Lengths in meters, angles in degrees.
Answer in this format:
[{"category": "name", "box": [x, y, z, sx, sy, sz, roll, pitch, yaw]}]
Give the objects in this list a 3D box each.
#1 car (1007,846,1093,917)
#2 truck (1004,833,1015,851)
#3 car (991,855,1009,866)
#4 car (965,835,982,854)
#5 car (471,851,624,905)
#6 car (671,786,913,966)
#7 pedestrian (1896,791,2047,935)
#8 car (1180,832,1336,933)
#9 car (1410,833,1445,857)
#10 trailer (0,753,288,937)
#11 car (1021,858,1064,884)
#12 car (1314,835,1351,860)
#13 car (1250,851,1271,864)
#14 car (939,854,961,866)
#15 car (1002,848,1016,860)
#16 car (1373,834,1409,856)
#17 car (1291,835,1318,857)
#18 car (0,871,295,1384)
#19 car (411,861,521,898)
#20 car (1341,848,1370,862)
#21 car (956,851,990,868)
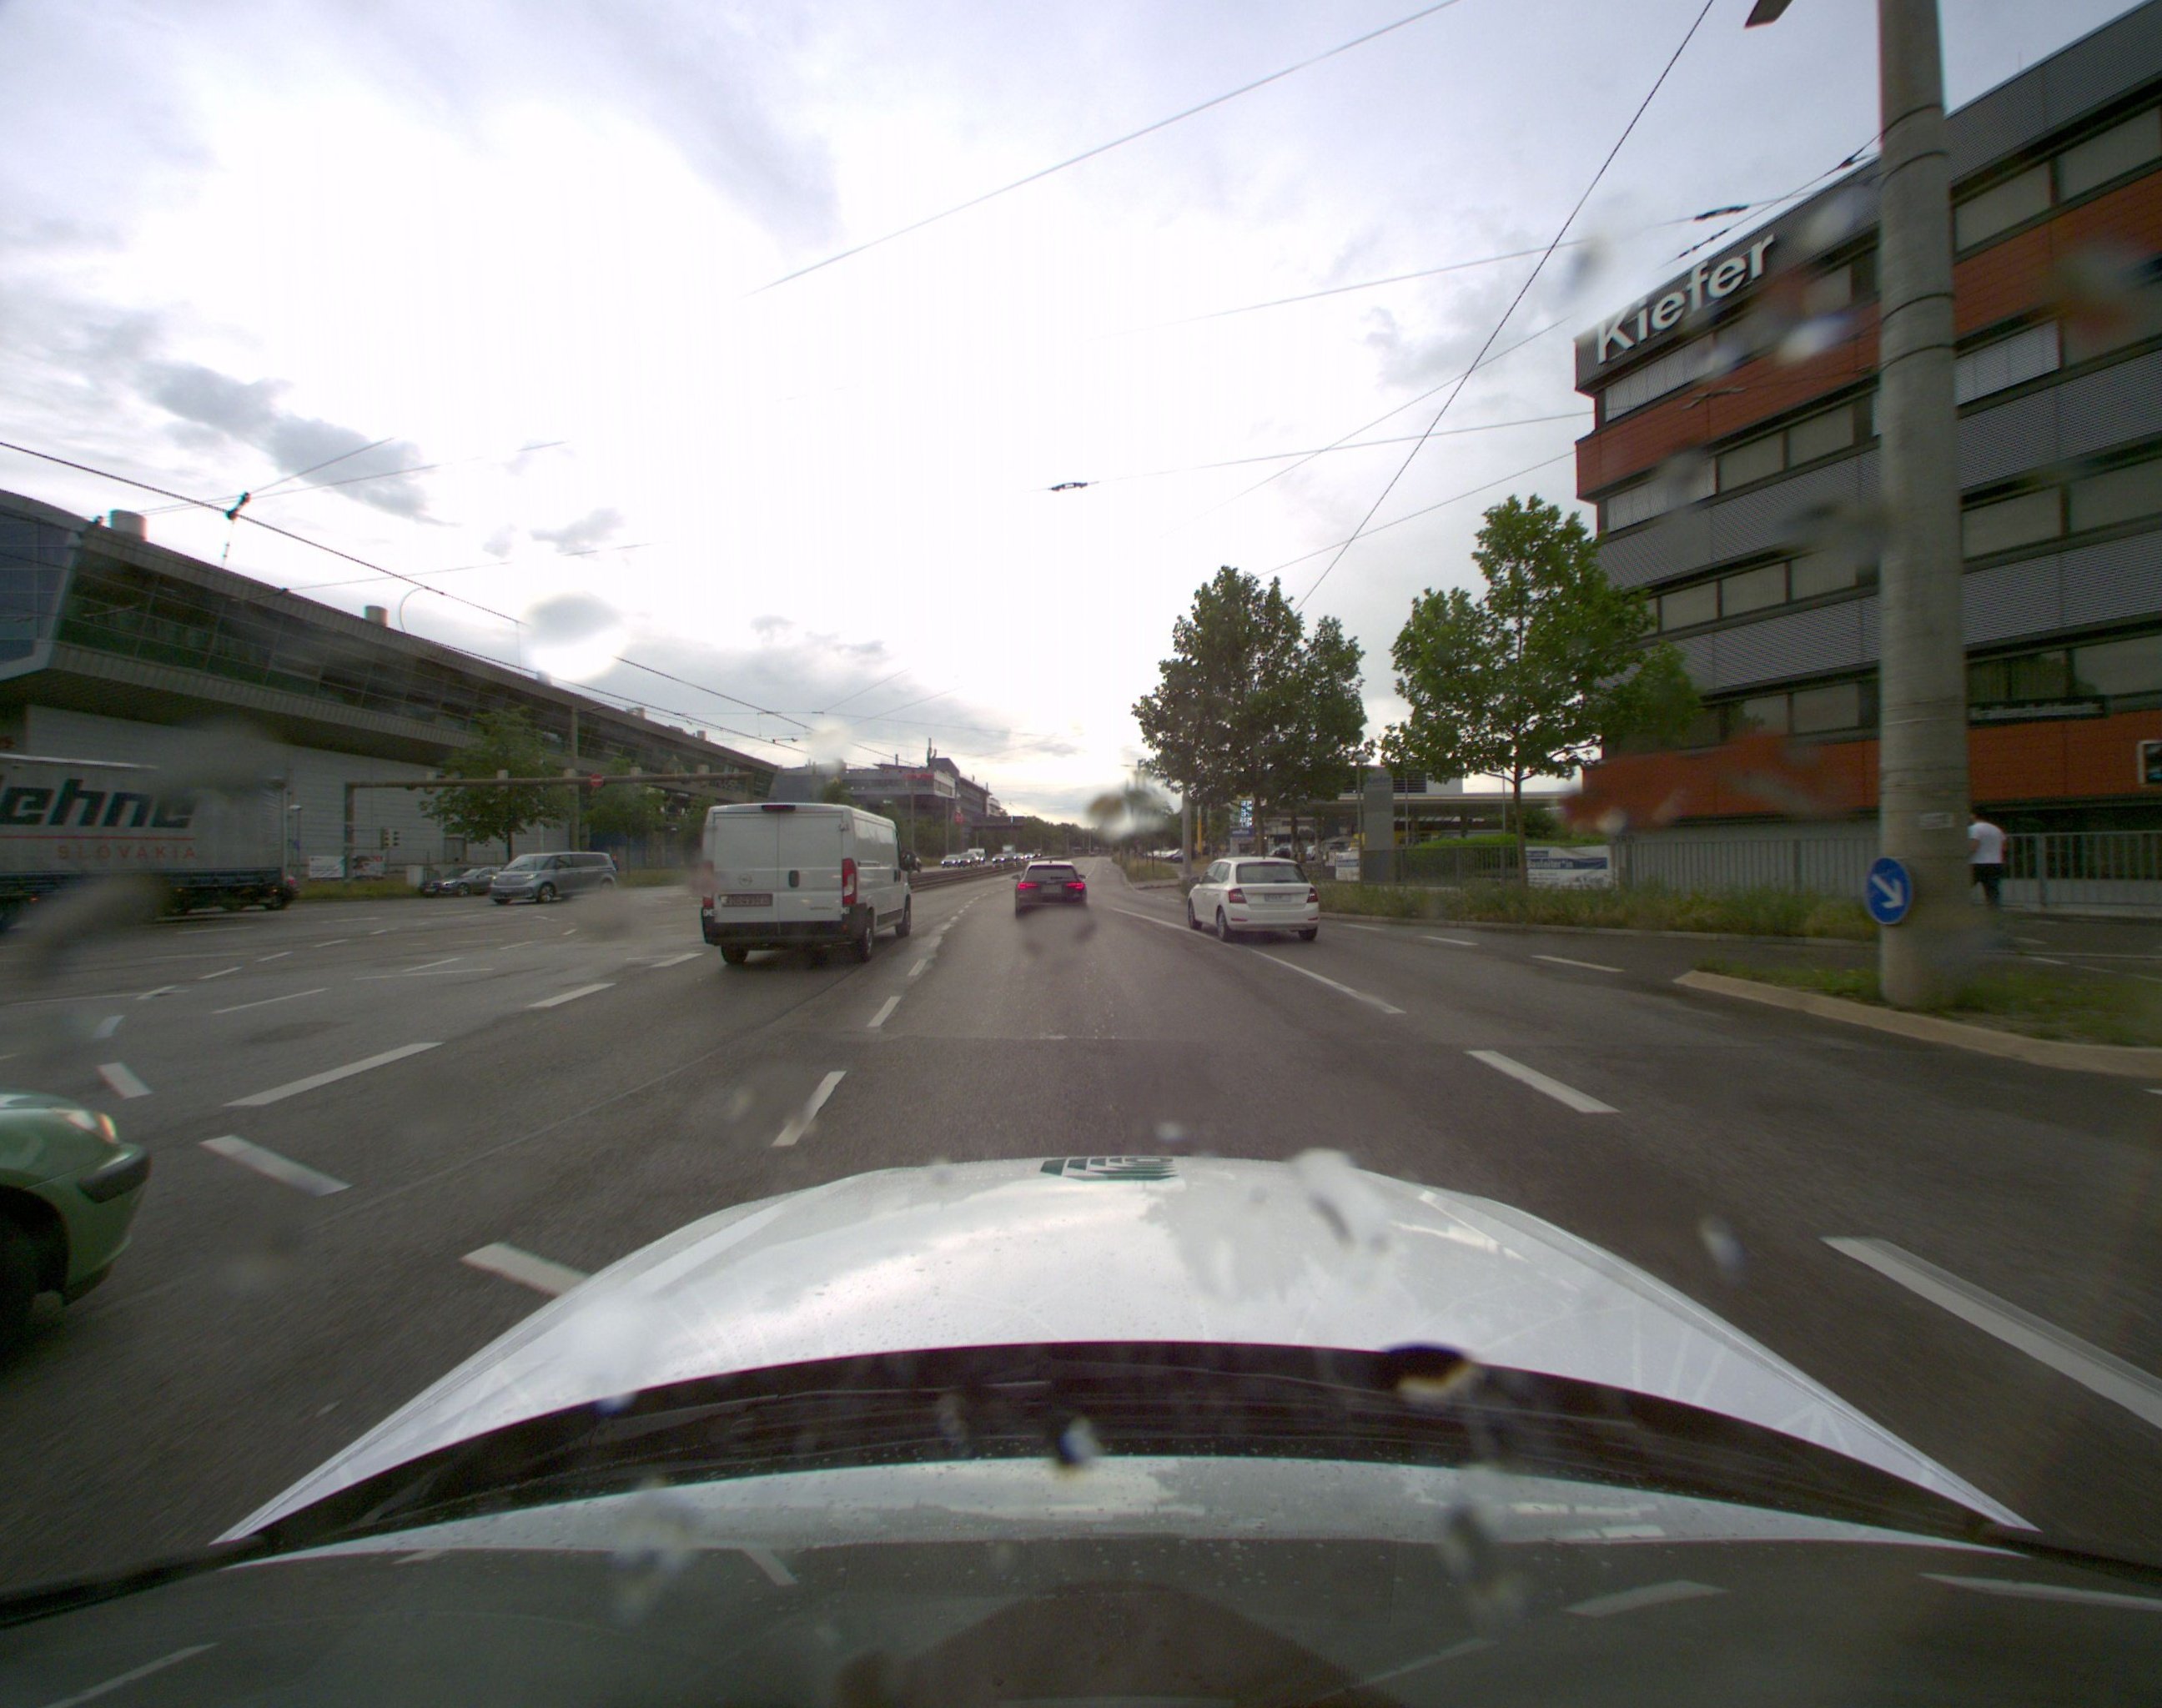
[{"category": "car", "box": [-0.901, 0.626, 21.341, 1.991, 1.637, 3.992, -1, 1, -6]}, {"category": "truck", "box": [-14.708, -2.460, 167.860, 2.155, 3.645, 6.863, 2, 0, -4]}, {"category": "car", "box": [-12.395, 0.918, 124.837, 1.792, 1.620, 4.962, -1, 0, 5]}, {"category": "car", "box": [-16.329, -1.454, 123.851, 2.155, 2.722, 5.059, 2, 0, -4]}, {"category": "car", "box": [-20.307, 0.851, 31.311, 1.981, 1.837, 4.924, 2, 0, 11]}, {"category": "car", "box": [-4.211, 0.307, 12.946, 2.441, 2.294, 4.895, 0, -1, -5]}, {"category": "pedestrian", "box": [13.944, 0.129, 12.810, 1.134, 2.125, 1.228, -2, 1, 18]}, {"category": "car", "box": [3.157, 0.481, 15.341, 1.825, 1.656, 3.994, 0, 0, -4]}, {"category": "car", "box": [29.604, -0.764, 69.702, 1.669, 2.013, 3.139, 2, 0, 2]}, {"category": "trailer", "box": [-25.636, -0.186, 17.857, 2.634, 4.124, 12.776, -1, 0, 9]}, {"category": "car", "box": [-2.187, 0.953, 47.381, 1.884, 1.465, 3.916, 0, 0, 6]}, {"category": "car", "box": [21.144, -0.538, 68.534, 1.986, 2.032, 4.002, -1, 0, 2]}, {"category": "car", "box": [22.259, 0.427, 101.376, 1.785, 1.591, 4.001, -1, 0, 1]}, {"category": "car", "box": [-16.812, 0.769, 104.643, 2.152, 1.505, 4.301, 2, 0, 0]}, {"category": "car", "box": [-12.666, 0.004, 143.597, 2.153, 1.885, 4.299, 2, 0, -2]}, {"category": "car", "box": [29.788, -0.859, 78.432, 1.865, 2.013, 3.771, 2, 0, -2]}, {"category": "car", "box": [21.305, -0.755, 77.783, 1.672, 2.013, 3.544, 2, 0, 3]}, {"category": "car", "box": [-4.030, 0.818, 1.056, 1.689, 1.468, 4.403, 2, 0, 0]}, {"category": "car", "box": [-29.653, 1.167, 39.486, 1.989, 1.609, 4.639, -1, 0, -3]}, {"category": "car", "box": [30.903, 0.120, 91.848, 1.986, 1.596, 4.001, -1, 0, 1]}, {"category": "car", "box": [-13.137, 0.668, 99.296, 2.140, 1.885, 4.324, 2, 0, 22]}]
